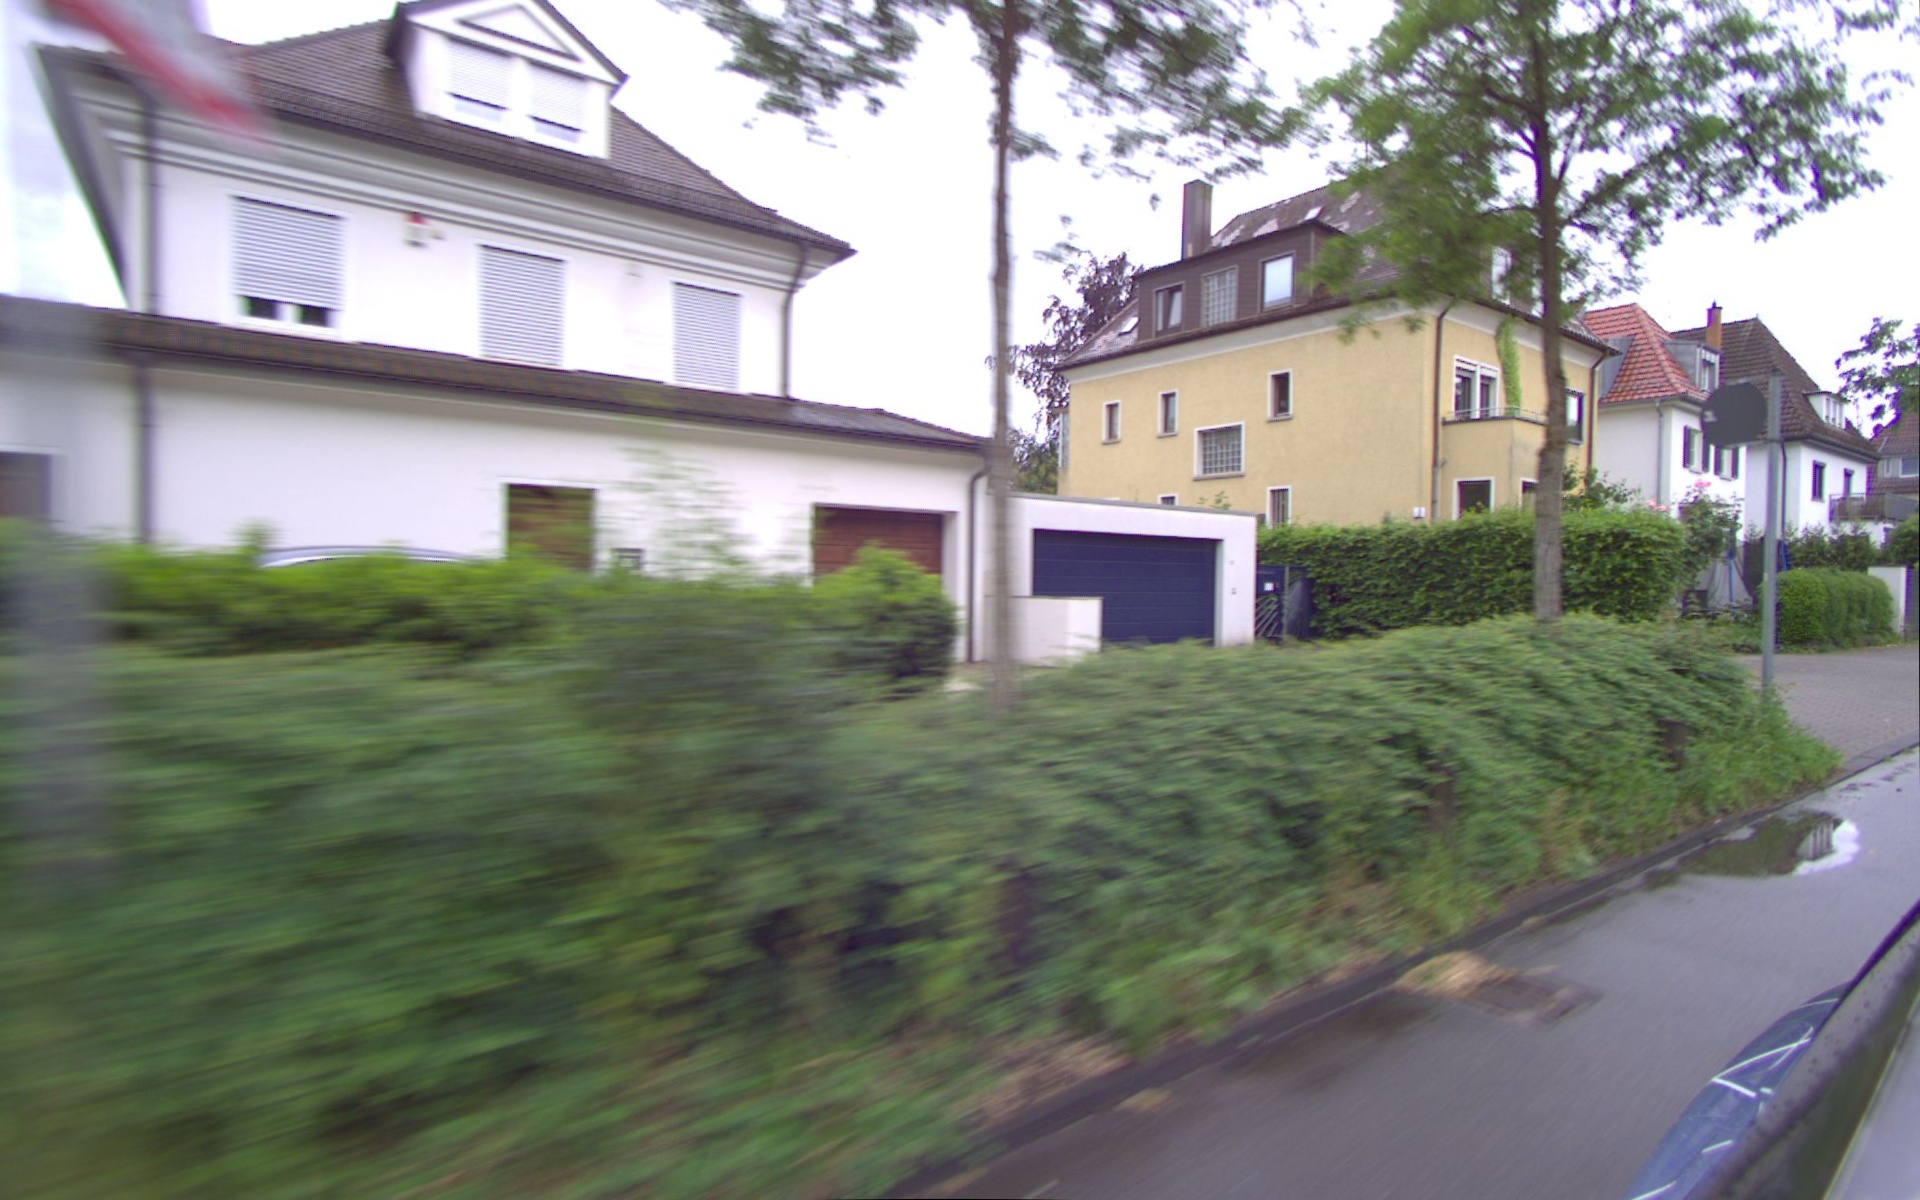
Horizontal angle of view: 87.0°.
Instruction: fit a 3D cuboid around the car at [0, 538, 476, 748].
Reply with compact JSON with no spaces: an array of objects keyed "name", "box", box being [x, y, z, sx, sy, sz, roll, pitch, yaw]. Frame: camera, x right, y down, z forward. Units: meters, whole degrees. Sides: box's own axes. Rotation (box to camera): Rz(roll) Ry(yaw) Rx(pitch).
[{"name":"car","box":[-5.535,0.228,6.797,3.923,1.191,1.838,-1,1,-34]}]
